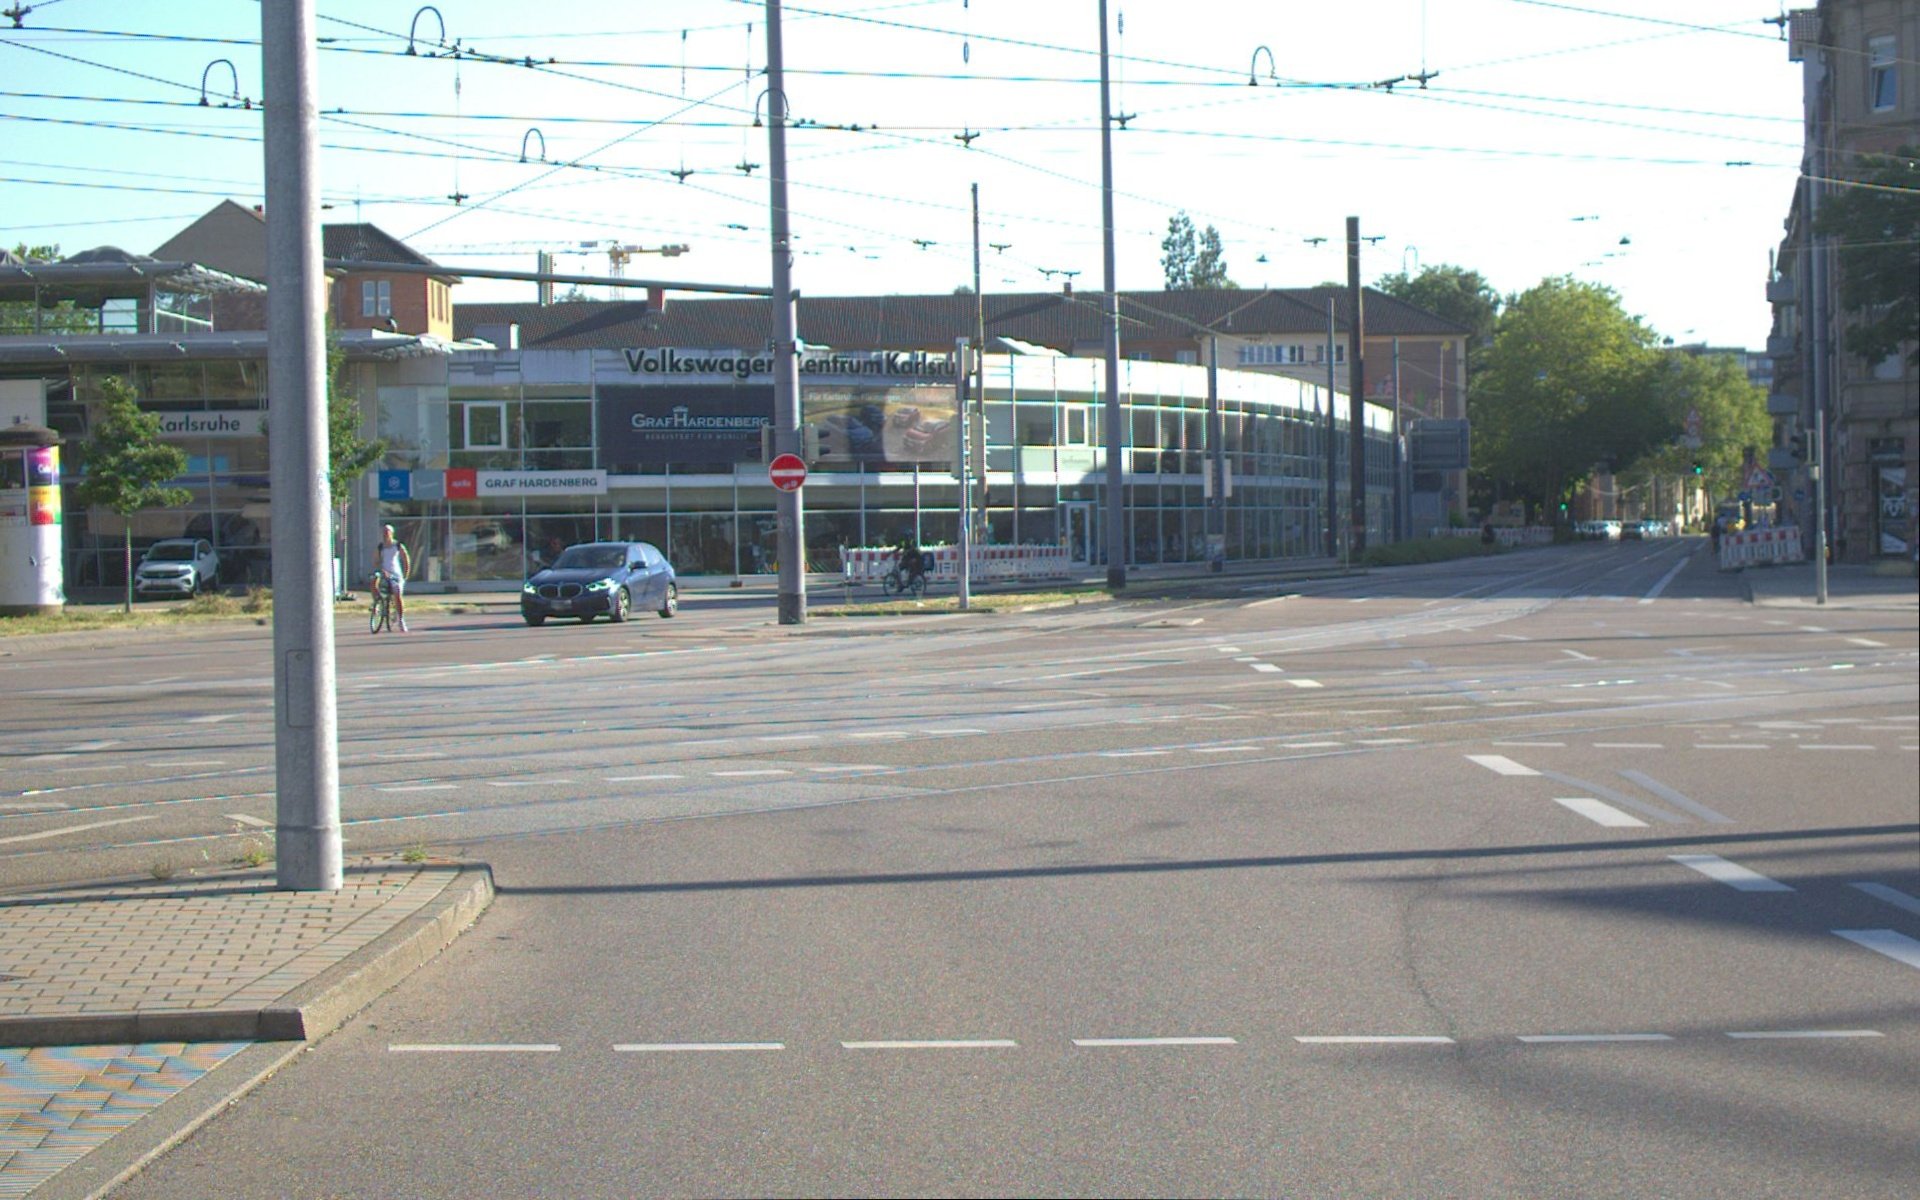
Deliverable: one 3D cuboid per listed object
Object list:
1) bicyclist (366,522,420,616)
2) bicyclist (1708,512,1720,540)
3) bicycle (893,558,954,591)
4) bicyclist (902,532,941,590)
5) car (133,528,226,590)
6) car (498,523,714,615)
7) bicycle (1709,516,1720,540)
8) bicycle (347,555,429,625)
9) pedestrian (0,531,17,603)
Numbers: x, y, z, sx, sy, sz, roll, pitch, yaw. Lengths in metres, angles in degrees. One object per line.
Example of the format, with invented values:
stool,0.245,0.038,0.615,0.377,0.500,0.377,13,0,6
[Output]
bicyclist,-9.874,-0.540,59.886,0.598,1.610,0.822,1,0,17
bicyclist,30.050,-2.956,137.017,0.408,1.112,0.399,1,0,11
bicycle,-0.985,-0.684,93.662,0.639,0.867,2.231,1,0,29
bicyclist,-1.048,-1.048,93.551,0.655,1.567,0.921,1,0,29
car,-22.509,-1.178,99.239,1.993,1.744,4.001,1,0,-4
car,-6.311,-0.542,61.678,1.996,1.579,3.994,1,0,27
bicycle,30.078,-2.876,137.123,0.410,0.938,1.844,1,0,12
bicycle,-9.928,-0.178,59.743,0.613,1.185,1.867,1,0,17
pedestrian,-22.449,-0.771,80.032,0.856,1.688,0.497,1,0,-2
